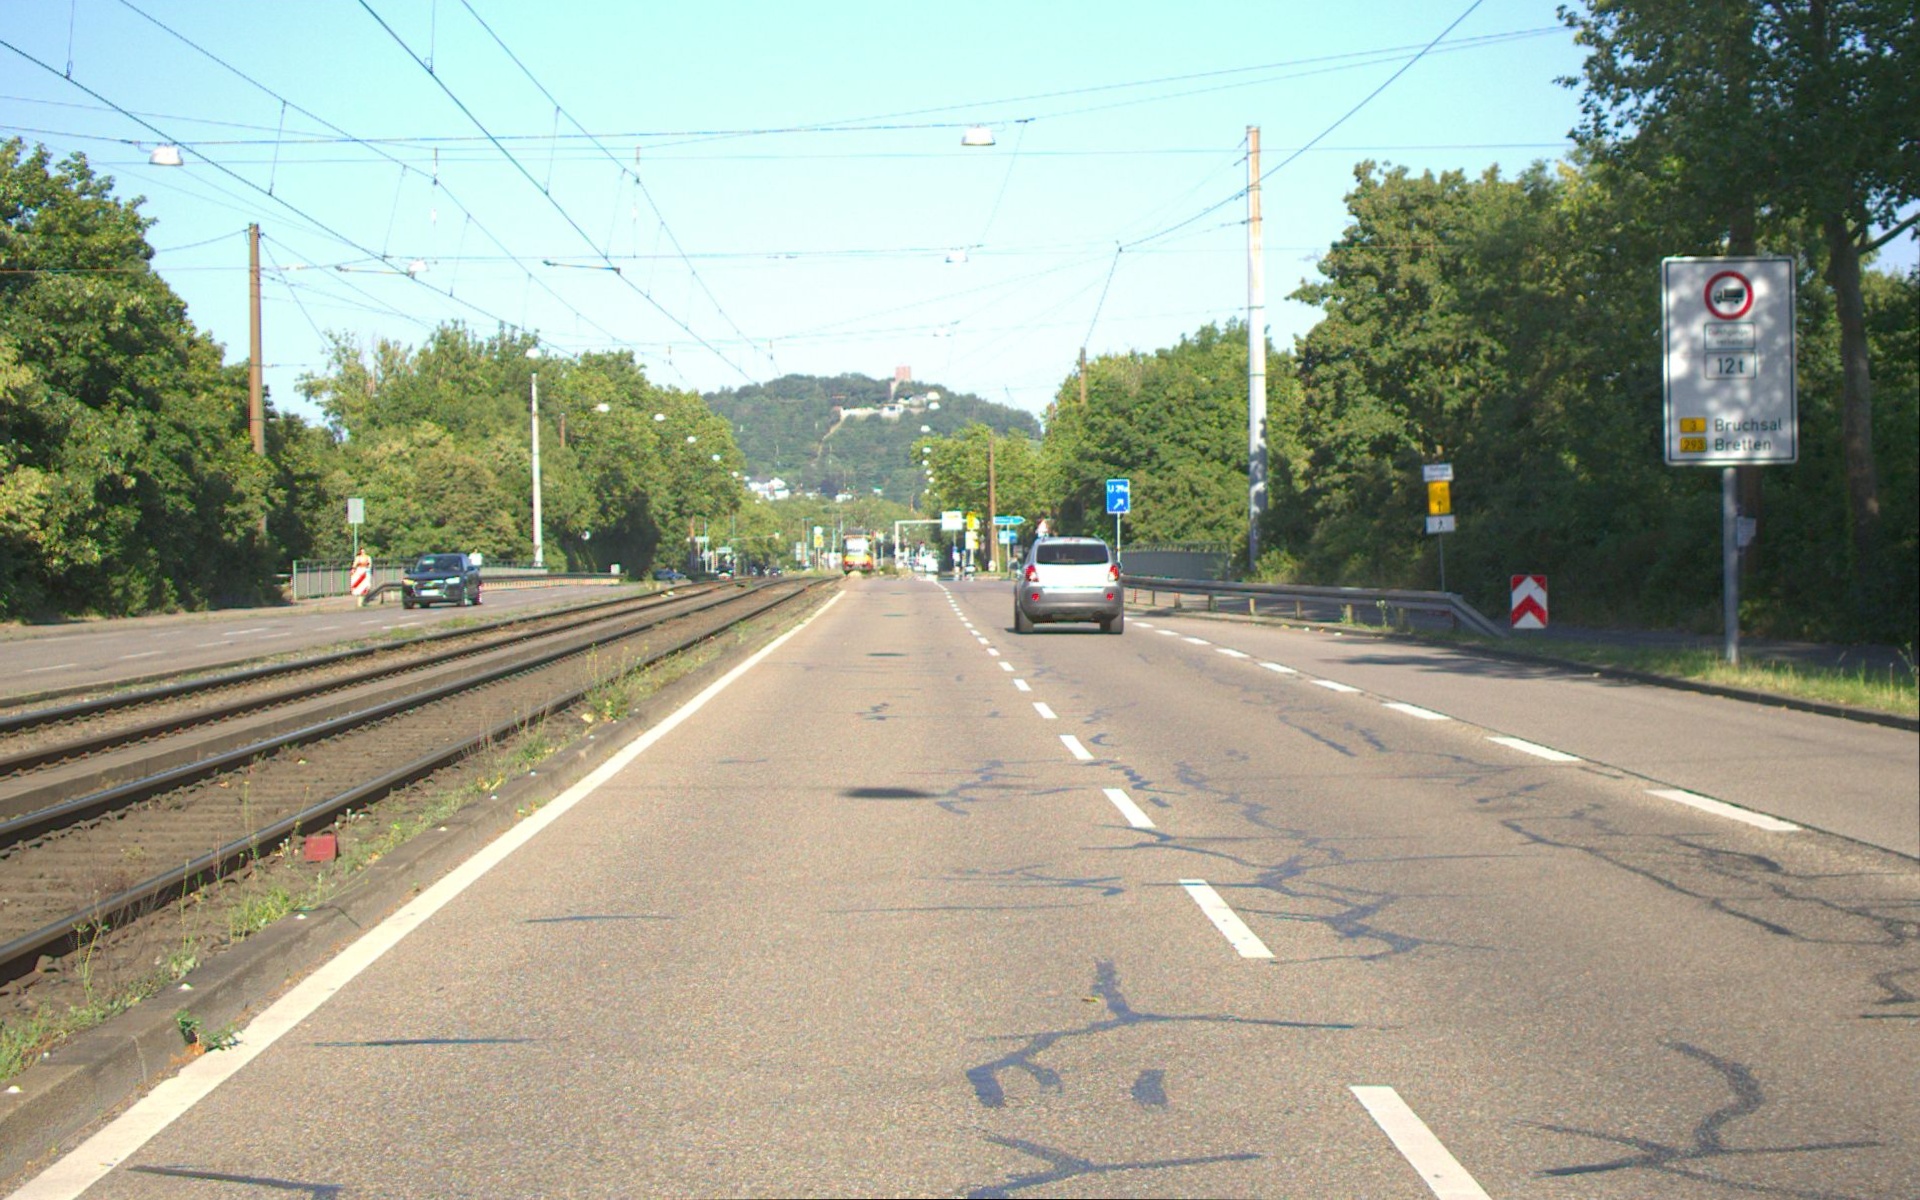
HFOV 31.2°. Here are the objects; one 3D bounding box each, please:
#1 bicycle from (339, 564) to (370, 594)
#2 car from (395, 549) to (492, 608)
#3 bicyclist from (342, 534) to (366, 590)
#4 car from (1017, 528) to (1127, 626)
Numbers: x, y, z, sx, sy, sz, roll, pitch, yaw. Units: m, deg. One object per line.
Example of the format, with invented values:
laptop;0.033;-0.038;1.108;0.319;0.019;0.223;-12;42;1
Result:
bicycle;-18.425;-0.639;104.703;0.507;0.889;2.027;1;1;2
car;-15.700;-0.670;104.665;1.994;1.680;4.795;-2;1;2
bicyclist;-18.419;-1.144;104.536;0.507;1.681;0.919;1;1;2
car;1.990;-0.424;61.377;1.888;1.688;4.256;0;1;1
